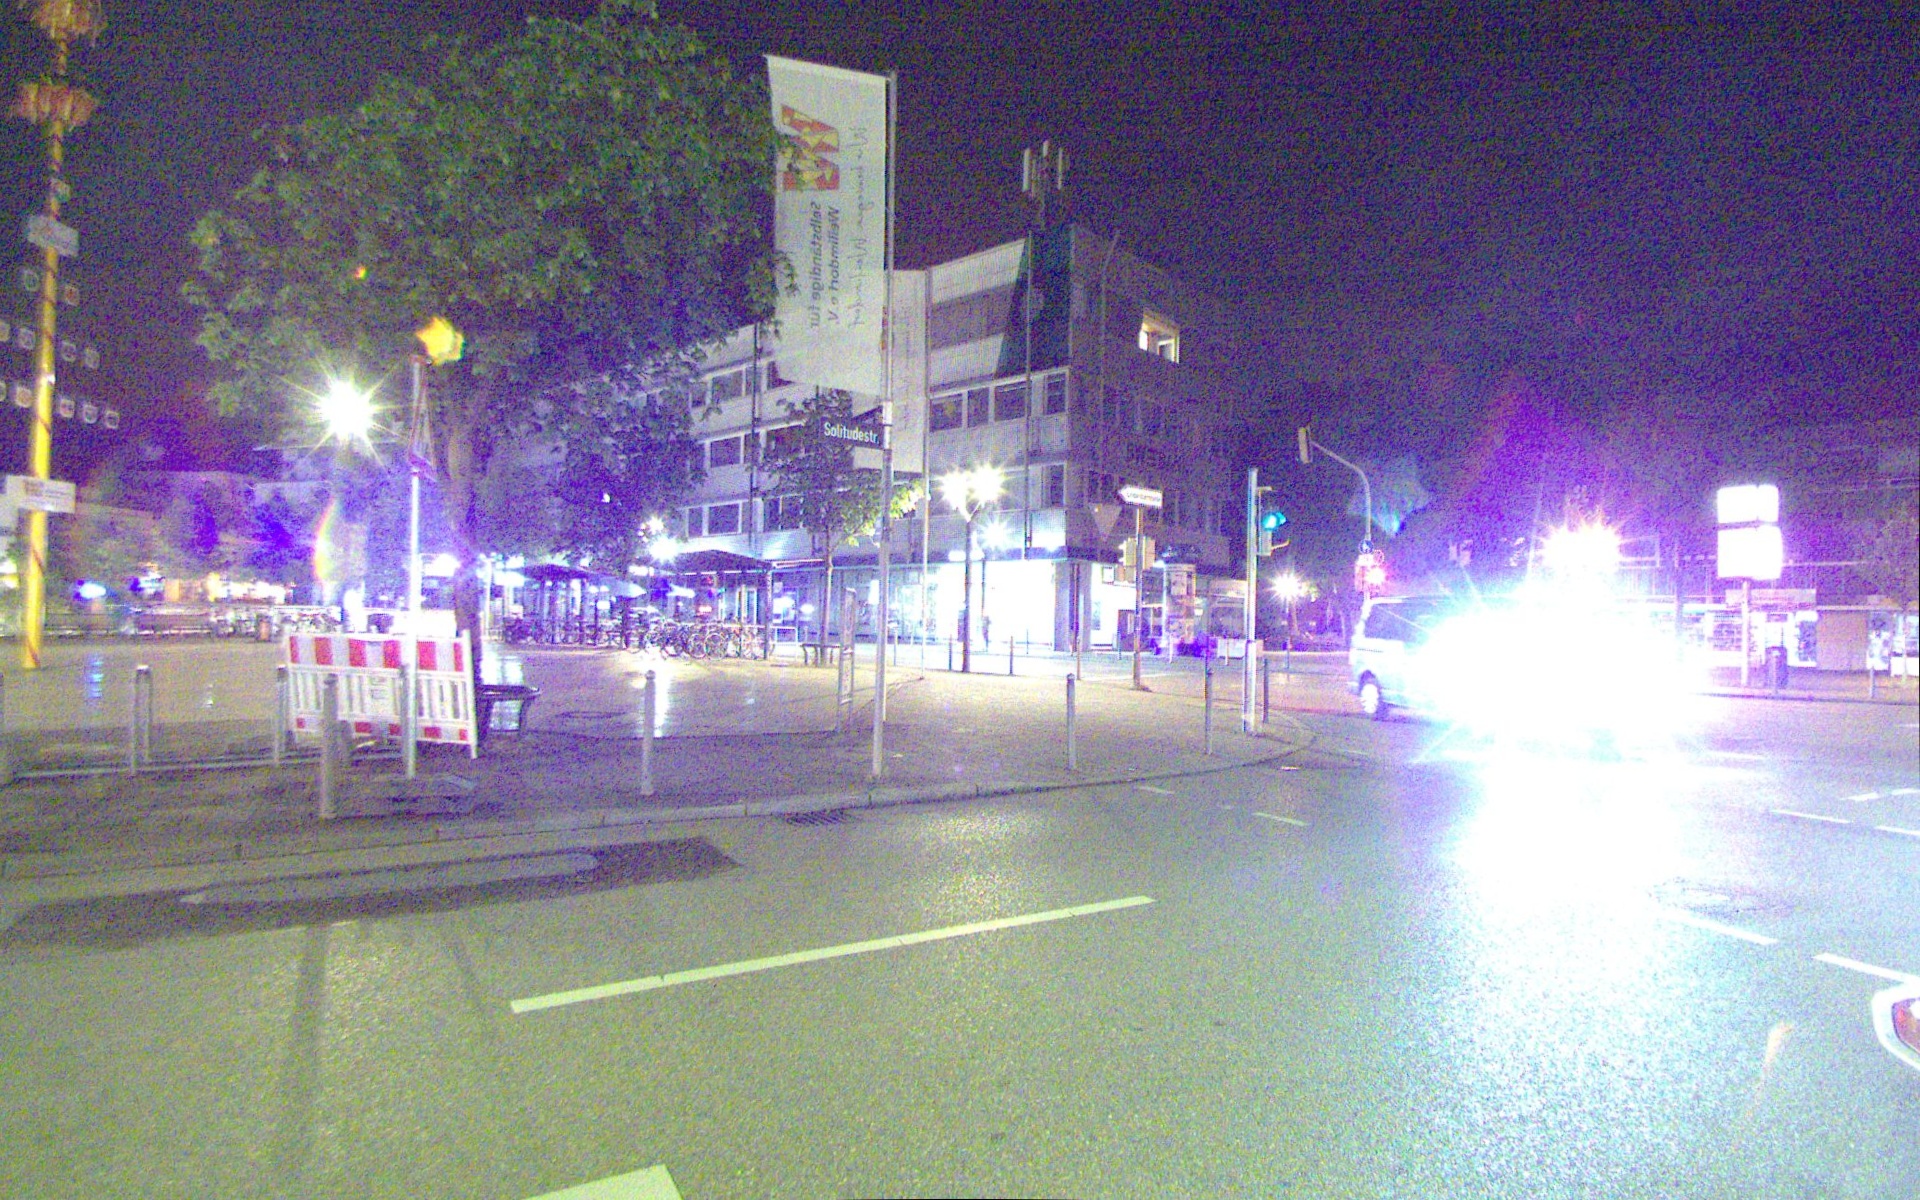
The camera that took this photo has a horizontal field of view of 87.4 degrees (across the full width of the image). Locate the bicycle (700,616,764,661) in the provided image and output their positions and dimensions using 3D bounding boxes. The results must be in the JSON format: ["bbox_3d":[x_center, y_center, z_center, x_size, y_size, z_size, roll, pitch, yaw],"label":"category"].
[{"bbox_3d":[-5.647,0.941,24.931,0.440,1.068,1.525,2,0,43],"label":"bicycle"}]

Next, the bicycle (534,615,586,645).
[{"bbox_3d":[-13.153,0.992,33.069,0.473,0.970,1.525,2,0,44],"label":"bicycle"}]

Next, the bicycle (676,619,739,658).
[{"bbox_3d":[-6.401,0.972,25.509,0.440,0.970,1.525,2,0,43],"label":"bicycle"}]

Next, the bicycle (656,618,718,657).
[{"bbox_3d":[-7.093,0.974,26.137,0.473,0.970,1.525,2,0,44],"label":"bicycle"}]

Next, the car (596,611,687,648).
[{"bbox_3d":[-14.202,1.280,44.714,4.251,1.473,1.871,2,0,40],"label":"car"}]

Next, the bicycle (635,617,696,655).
[{"bbox_3d":[-7.847,0.952,26.829,0.473,0.970,1.525,2,0,44],"label":"bicycle"}]

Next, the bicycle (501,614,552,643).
[{"bbox_3d":[-14.835,0.987,34.416,0.473,0.970,1.525,2,0,44],"label":"bicycle"}]

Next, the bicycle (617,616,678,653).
[{"bbox_3d":[-8.527,0.934,27.429,0.473,0.970,1.525,2,0,44],"label":"bicycle"}]

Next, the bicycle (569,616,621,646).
[{"bbox_3d":[-12.028,1.019,33.130,0.473,0.970,1.525,2,0,44],"label":"bicycle"}]

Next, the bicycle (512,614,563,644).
[{"bbox_3d":[-14.180,0.979,33.744,0.473,0.970,1.525,2,0,44],"label":"bicycle"}]

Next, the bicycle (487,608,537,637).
[{"bbox_3d":[-15.545,0.789,34.889,0.473,0.970,1.525,2,0,44],"label":"bicycle"}]

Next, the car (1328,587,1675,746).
[{"bbox_3d":[7.487,0.868,14.617,1.937,1.896,4.906,1,-1,-8],"label":"car"}]
